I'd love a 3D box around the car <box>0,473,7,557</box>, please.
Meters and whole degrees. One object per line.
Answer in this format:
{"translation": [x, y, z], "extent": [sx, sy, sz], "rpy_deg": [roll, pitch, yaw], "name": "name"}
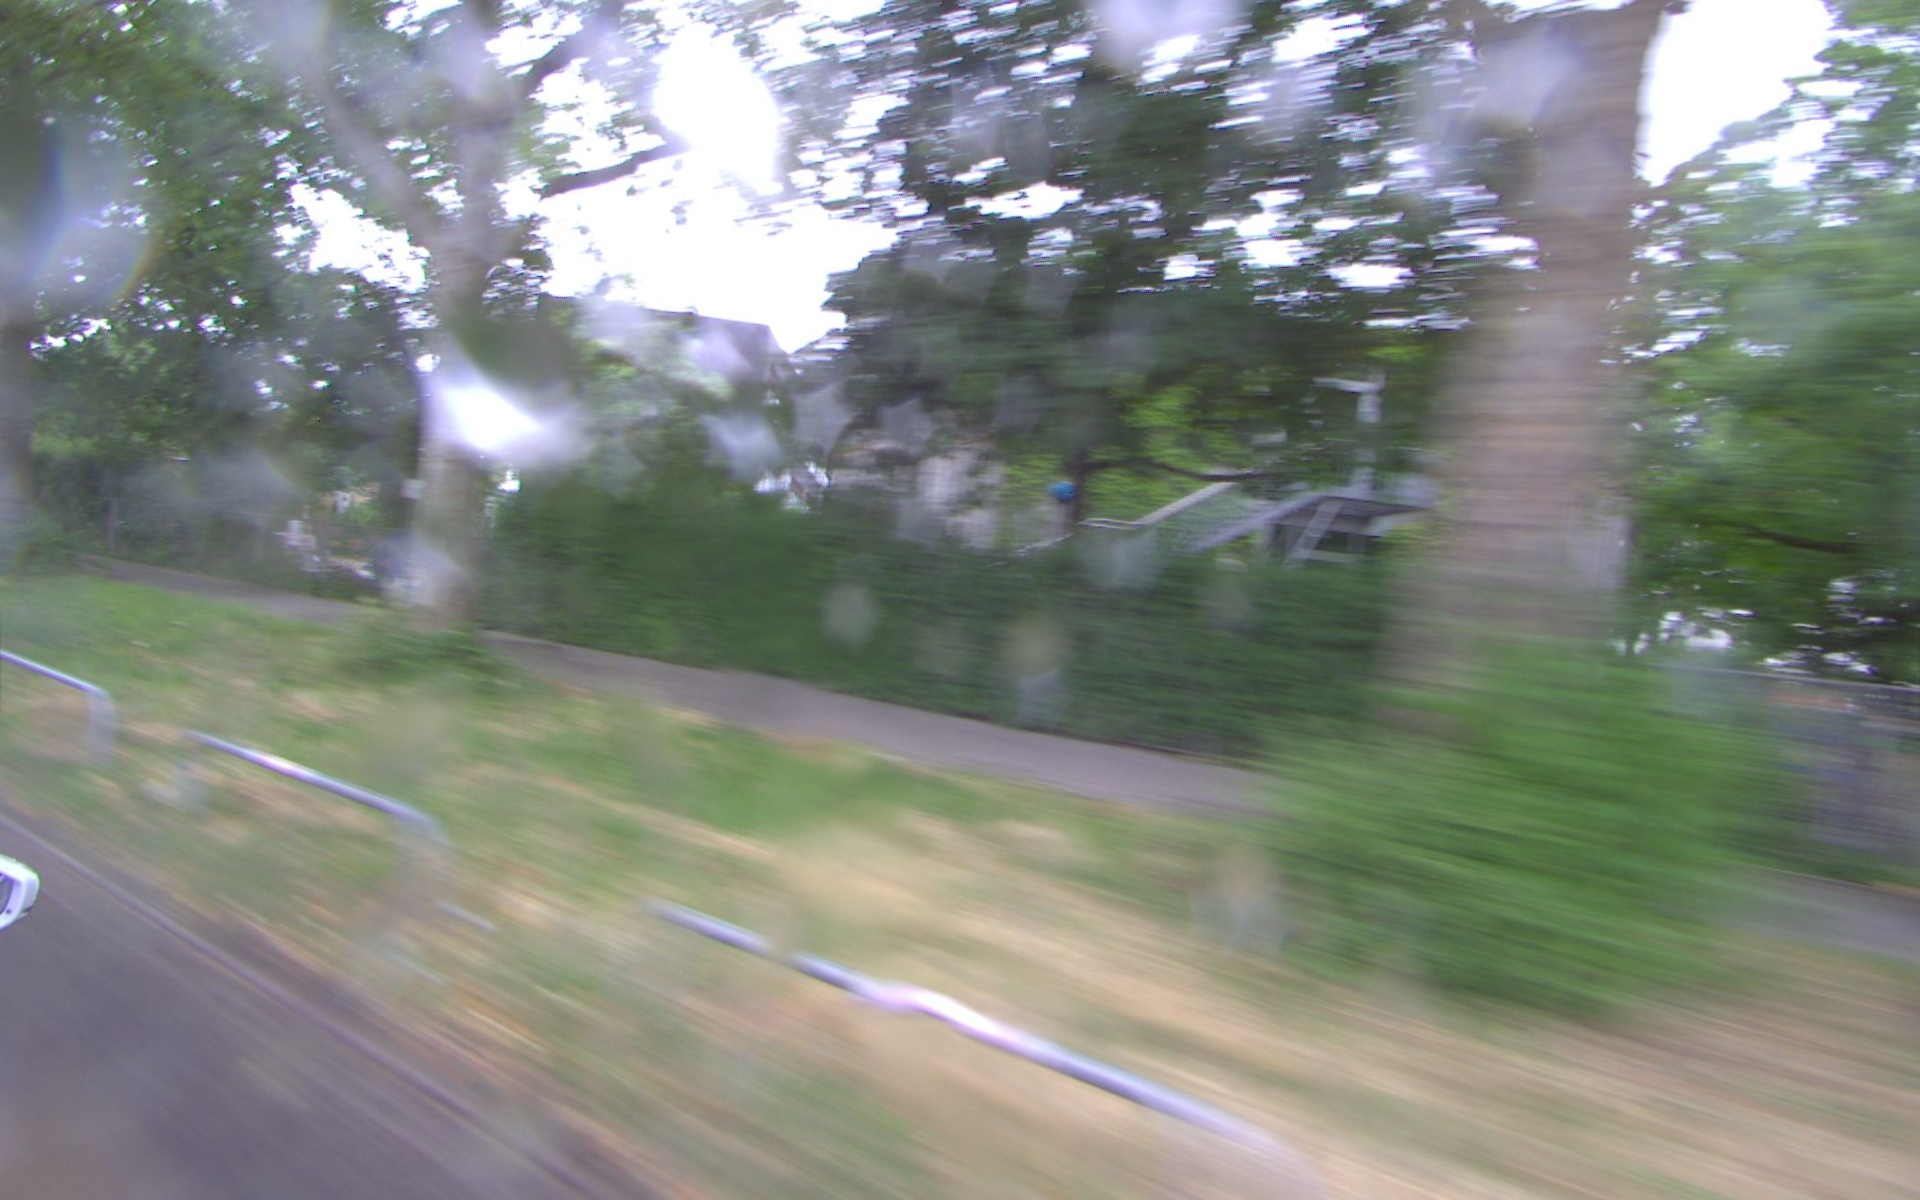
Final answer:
{"translation": [-18.758, -1.666, 16.829], "extent": [1.848, 1.552, 3.803], "rpy_deg": [6, 1, 2], "name": "car"}
